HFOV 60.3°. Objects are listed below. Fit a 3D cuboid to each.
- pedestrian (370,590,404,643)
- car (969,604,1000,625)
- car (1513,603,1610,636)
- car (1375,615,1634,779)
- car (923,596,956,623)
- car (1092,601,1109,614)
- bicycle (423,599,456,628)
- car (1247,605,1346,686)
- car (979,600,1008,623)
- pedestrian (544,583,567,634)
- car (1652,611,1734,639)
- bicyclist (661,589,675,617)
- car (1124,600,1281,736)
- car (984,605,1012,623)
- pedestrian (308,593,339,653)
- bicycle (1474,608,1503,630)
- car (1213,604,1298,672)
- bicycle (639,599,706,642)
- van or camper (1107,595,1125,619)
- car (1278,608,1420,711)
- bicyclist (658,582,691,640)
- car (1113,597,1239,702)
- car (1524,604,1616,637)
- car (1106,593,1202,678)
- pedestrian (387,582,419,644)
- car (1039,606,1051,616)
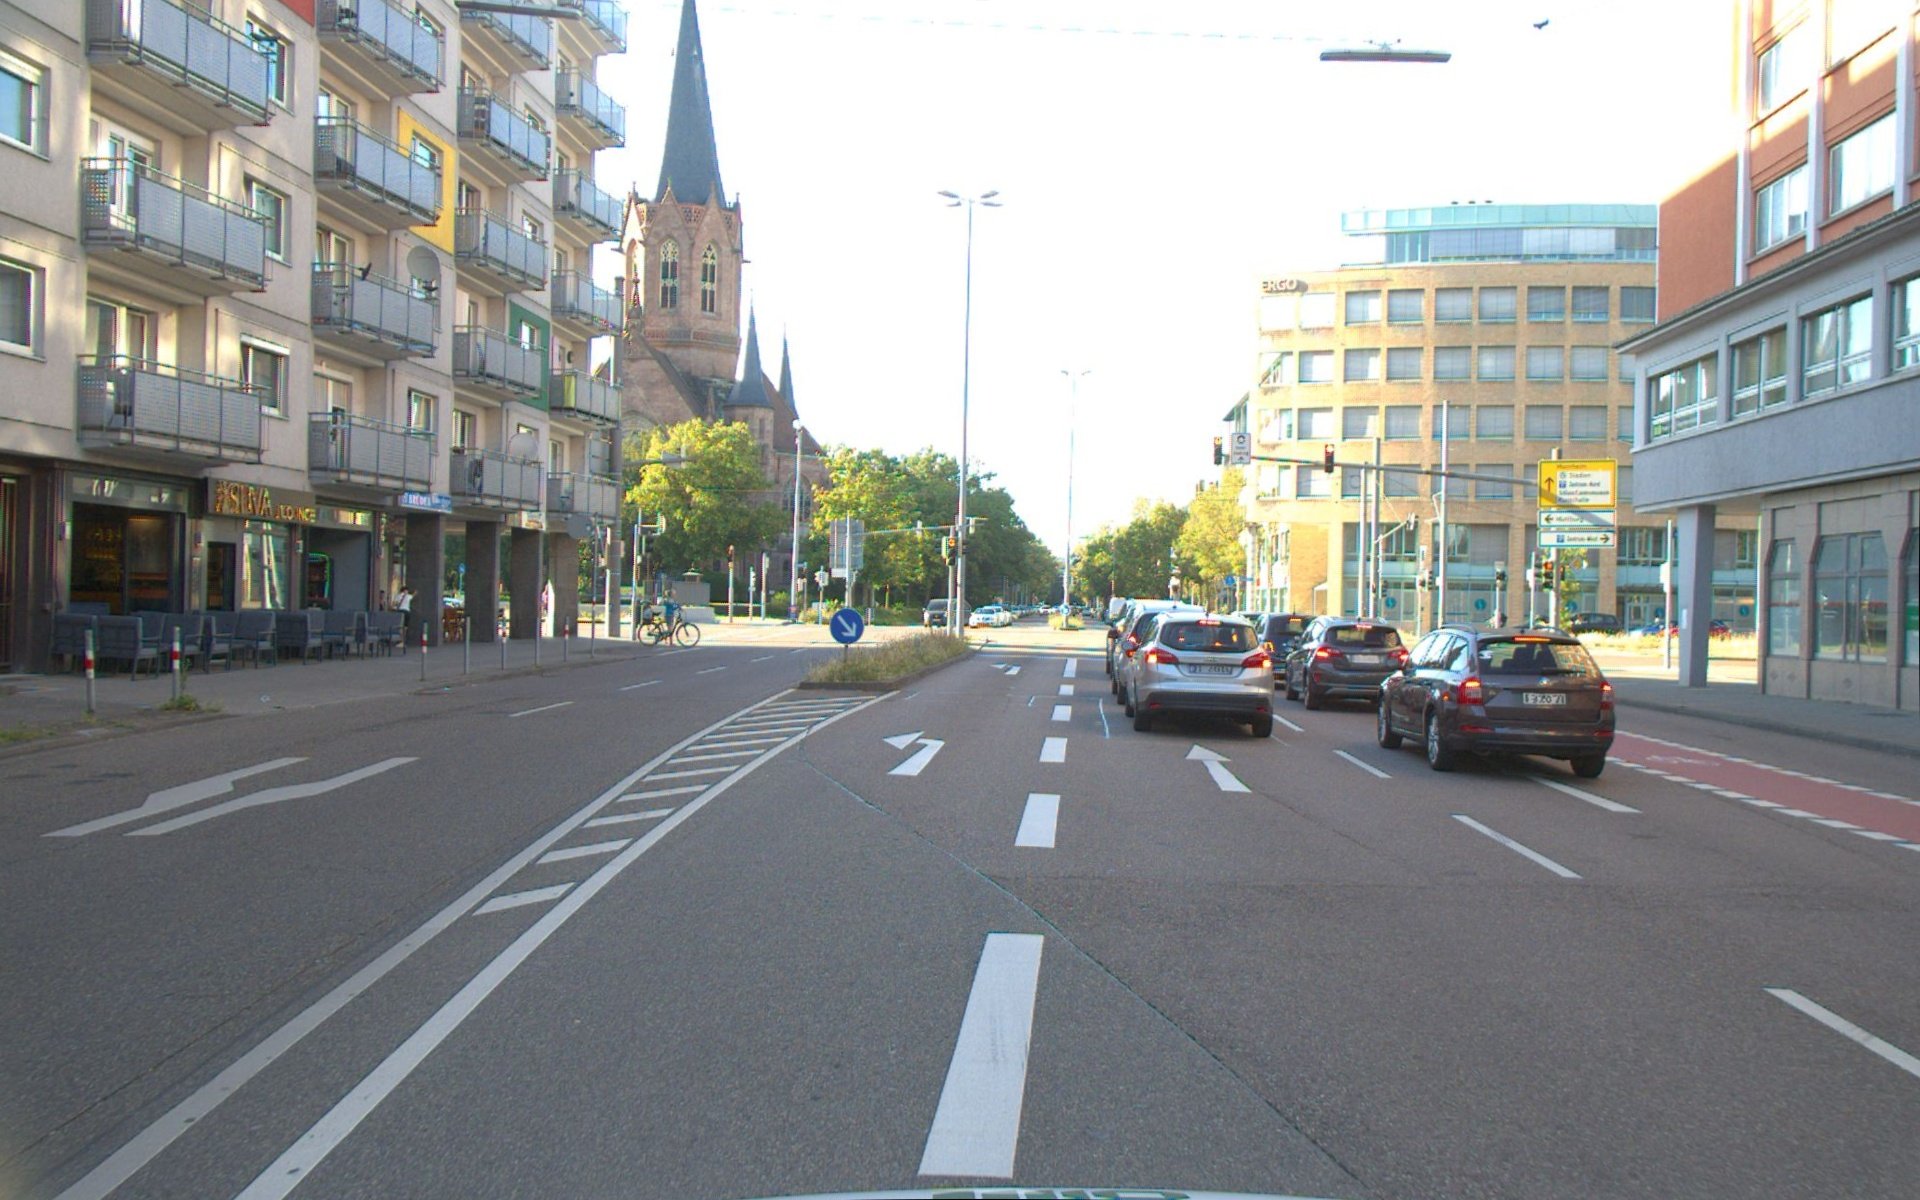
[{"bbox_3d":[-13.897,0.390,40.116,0.544,1.261,0.531,1,0,18],"label":"pedestrian"},{"bbox_3d":[1.591,0.901,106.472,1.742,1.257,4.002,1,0,4],"label":"car"},{"bbox_3d":[32.643,1.044,89.813,4.551,1.626,2.000,1,0,1],"label":"car"},{"bbox_3d":[5.731,0.941,17.913,1.671,1.482,4.160,1,0,4],"label":"car"},{"bbox_3d":[-1.325,0.583,107.226,1.742,1.676,4.002,1,0,4],"label":"car"},{"bbox_3d":[18.400,1.014,216.225,1.952,1.620,4.000,1,0,1],"label":"car"},{"bbox_3d":[-17.483,0.448,55.611,0.486,0.922,1.704,1,0,3],"label":"bicycle"},{"bbox_3d":[6.893,0.897,34.145,1.458,1.532,3.480,1,0,3],"label":"car"},{"bbox_3d":[2.324,0.777,113.015,1.742,1.490,4.002,1,0,4],"label":"car"},{"bbox_3d":[-13.391,0.272,54.790,0.458,1.670,0.576,1,0,24],"label":"pedestrian"},{"bbox_3d":[38.321,1.307,86.493,3.532,1.366,1.723,1,0,4],"label":"car"},{"bbox_3d":[-18.048,0.171,102.254,0.764,1.724,0.640,1,0,-5],"label":"bicyclist"},{"bbox_3d":[3.106,0.810,21.864,1.672,1.536,4.311,2,0,4],"label":"car"},{"bbox_3d":[2.788,0.995,120.364,1.742,1.257,4.002,1,0,4],"label":"car"},{"bbox_3d":[-13.184,0.476,34.258,0.515,1.224,0.548,1,0,-28],"label":"pedestrian"},{"bbox_3d":[29.571,1.050,92.524,1.488,1.193,0.475,1,0,2],"label":"bicycle"},{"bbox_3d":[7.003,0.868,39.468,1.551,1.472,3.649,3,0,4],"label":"car"},{"bbox_3d":[-8.415,0.603,48.494,1.789,1.209,0.734,1,0,3],"label":"bicycle"},{"bbox_3d":[17.481,0.779,185.102,1.951,2.686,5.354,1,0,5],"label":"van or camper"},{"bbox_3d":[6.474,0.938,27.939,1.616,1.510,4.241,2,0,4],"label":"car"},{"bbox_3d":[-8.398,0.324,48.688,0.766,1.689,0.901,1,0,1],"label":"bicyclist"},{"bbox_3d":[3.514,0.766,27.484,1.766,1.596,3.620,1,0,3],"label":"car"},{"bbox_3d":[32.133,1.067,87.196,4.139,1.642,2.001,1,0,6],"label":"car"},{"bbox_3d":[4.094,0.702,35.478,1.746,1.661,4.480,1,0,3],"label":"car"},{"bbox_3d":[-13.022,0.302,38.688,0.474,1.408,0.481,1,0,24],"label":"pedestrian"},{"bbox_3d":[12.855,1.616,249.989,1.742,1.474,4.002,1,0,4],"label":"car"}]
